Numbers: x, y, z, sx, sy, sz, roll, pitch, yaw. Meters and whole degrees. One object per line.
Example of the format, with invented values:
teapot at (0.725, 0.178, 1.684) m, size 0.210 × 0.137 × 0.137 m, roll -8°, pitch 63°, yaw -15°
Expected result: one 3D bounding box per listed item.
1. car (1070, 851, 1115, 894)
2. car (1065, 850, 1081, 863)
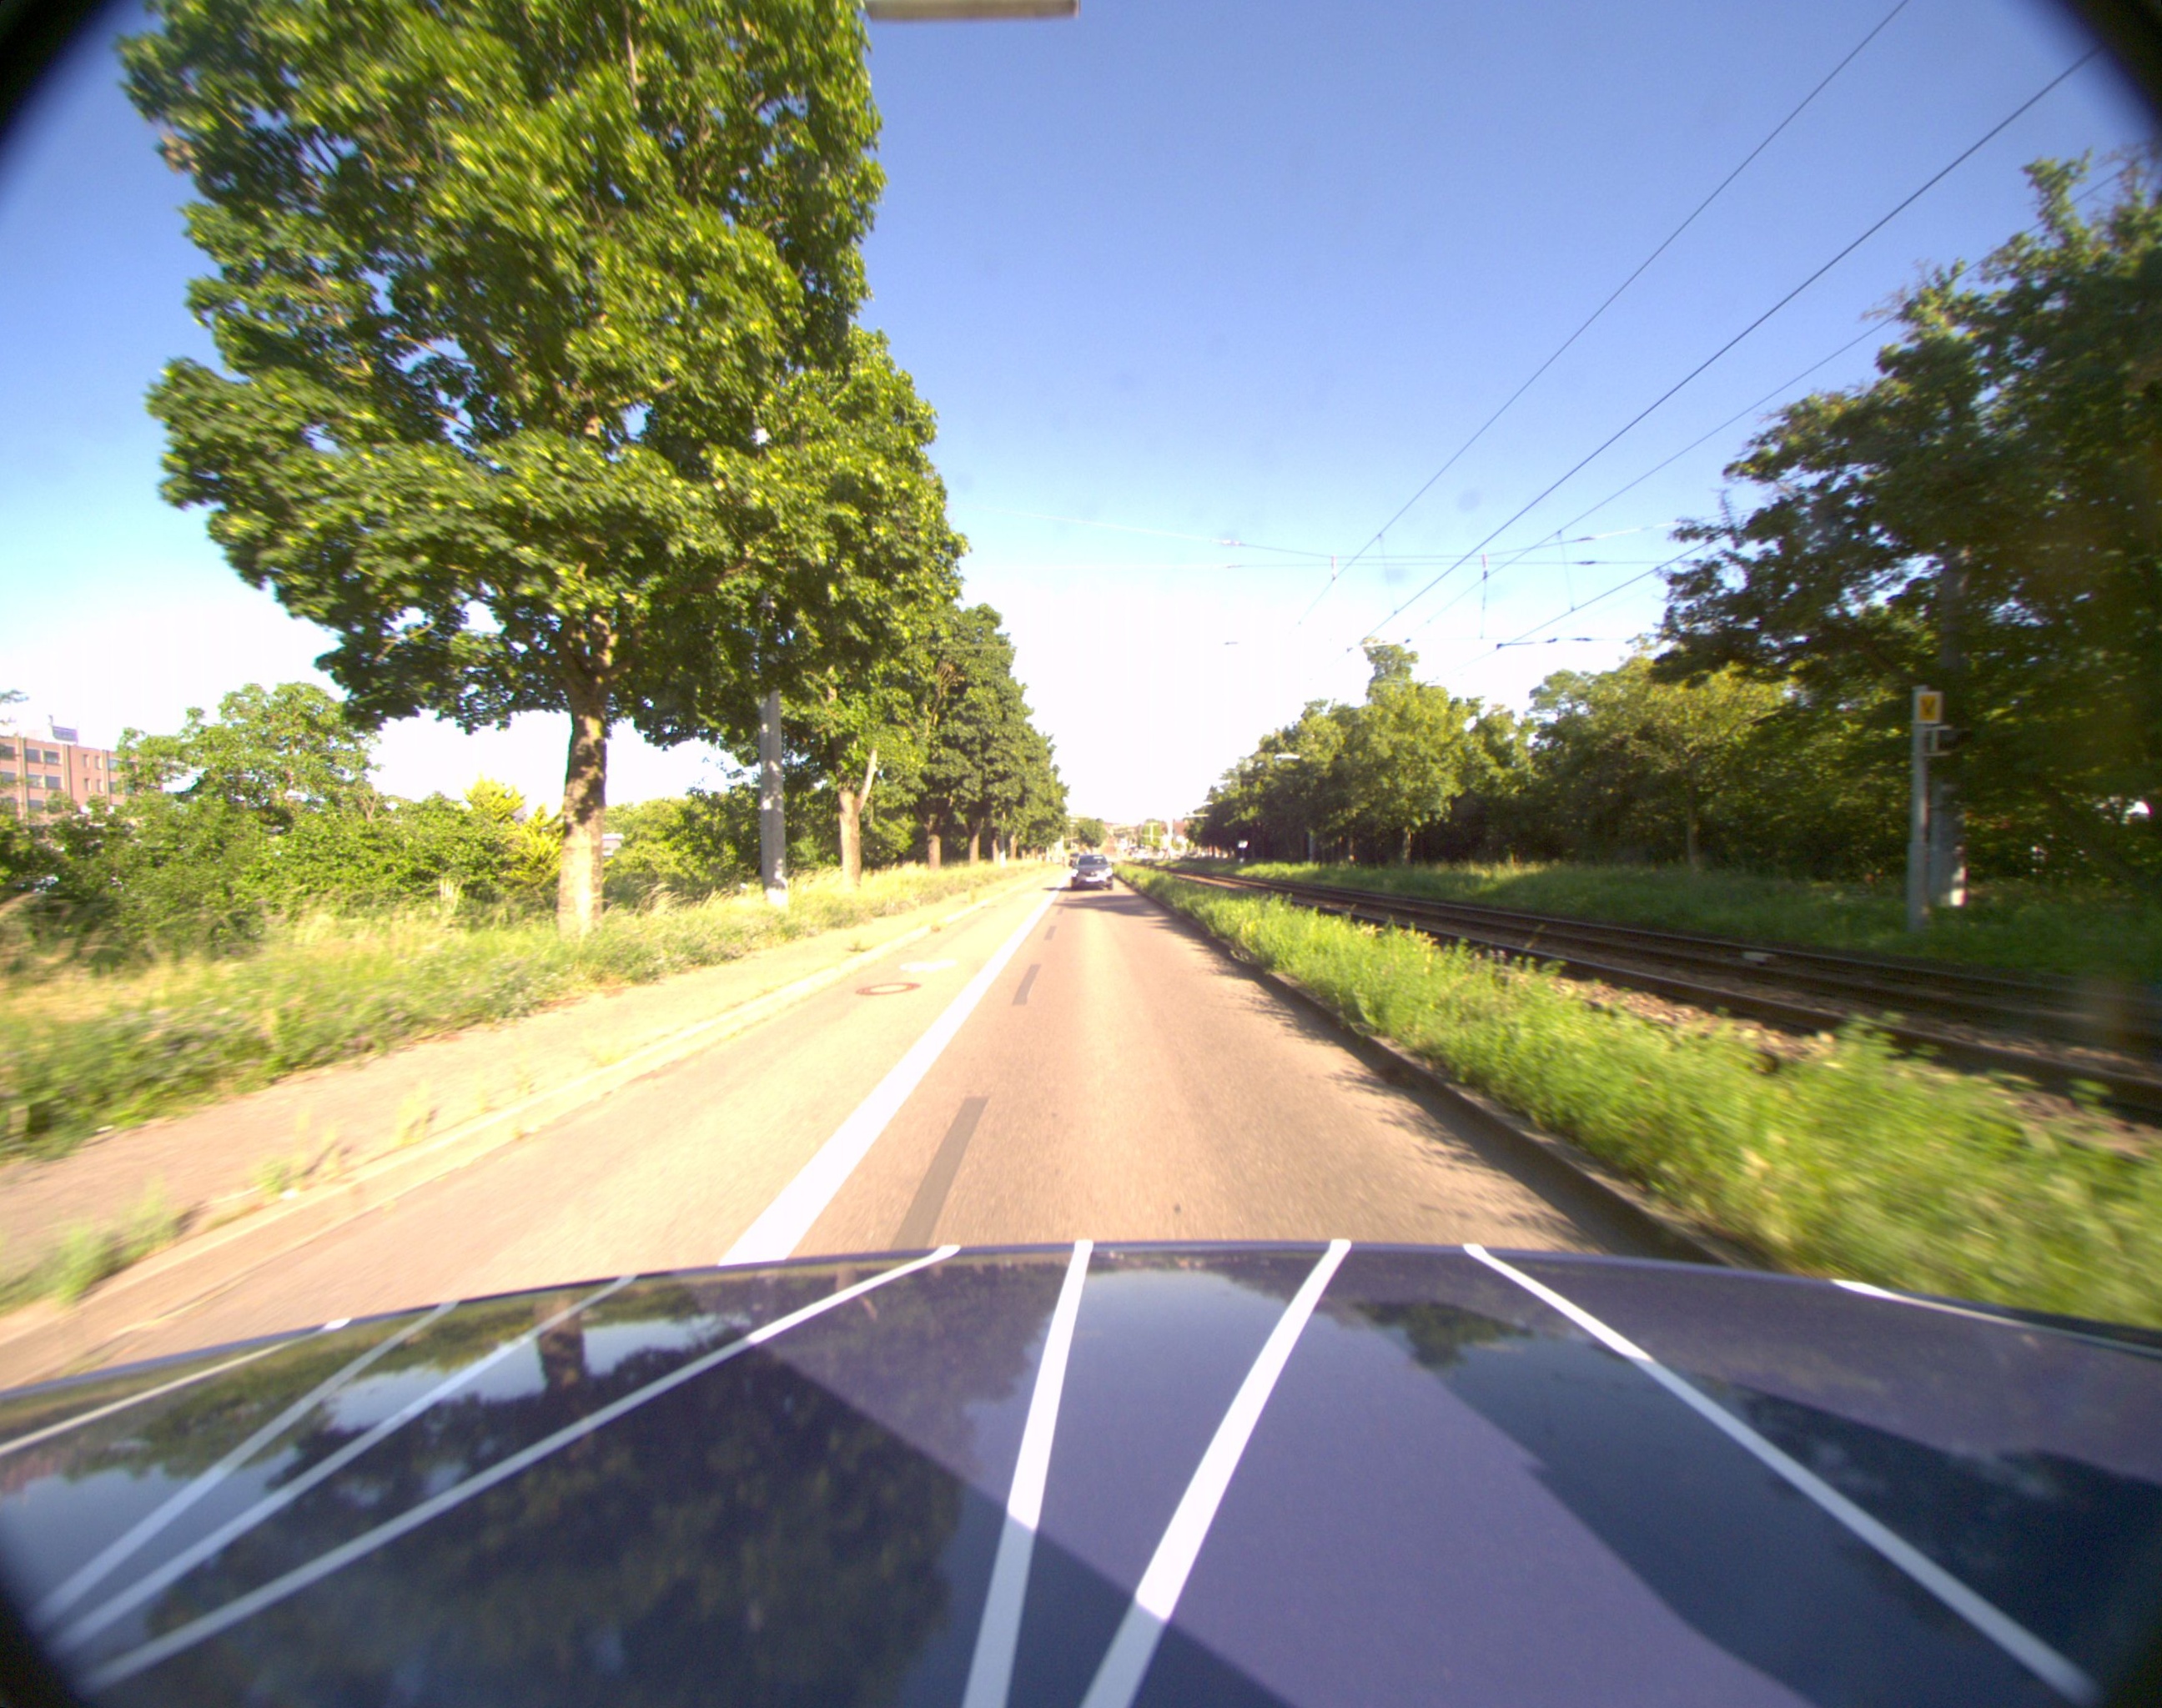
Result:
car at (0.506, 0.718, 32.705) m, size 1.814 × 1.625 × 4.709 m, roll 0°, pitch 1°, yaw 1°
car at (-1.009, 0.290, 98.793) m, size 1.814 × 1.625 × 4.128 m, roll -3°, pitch 1°, yaw 1°
